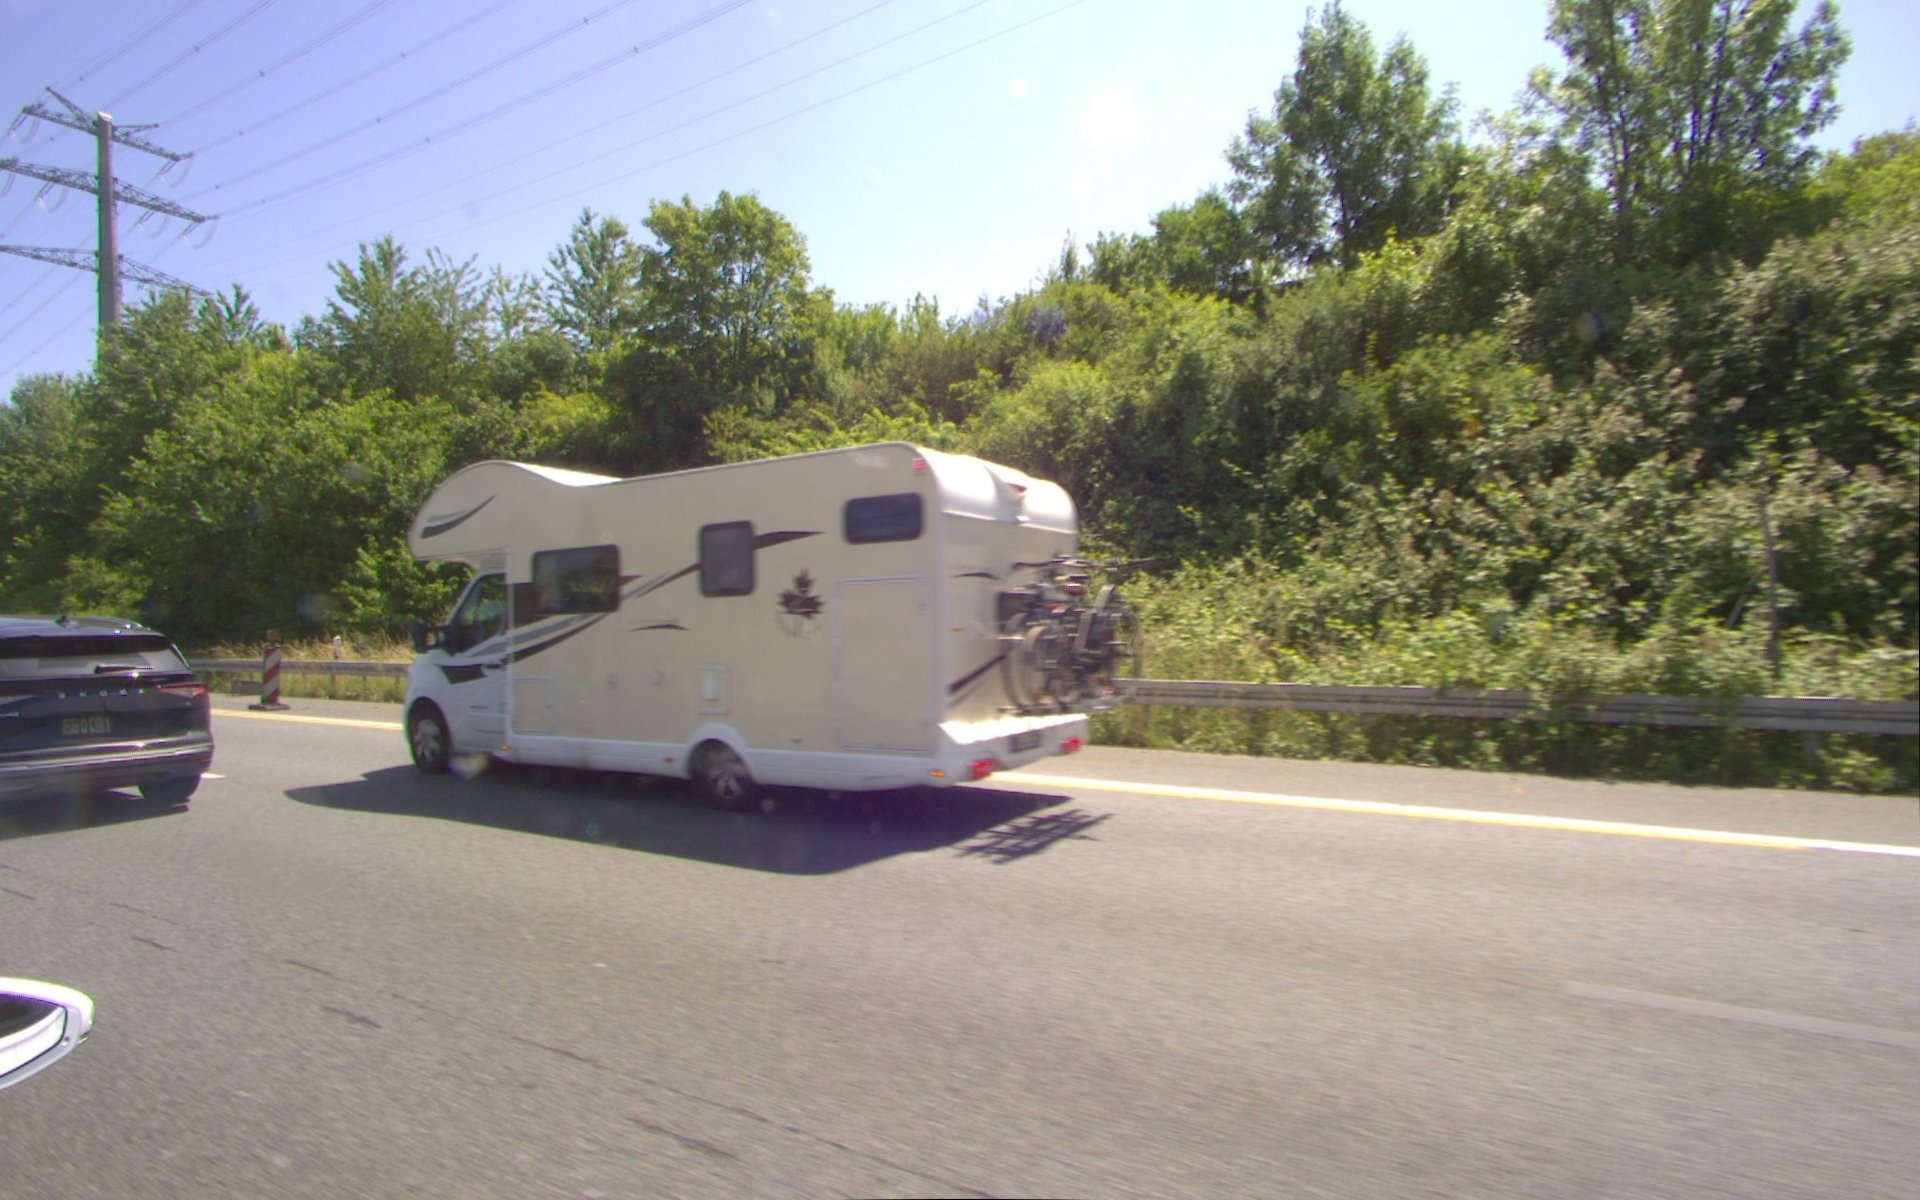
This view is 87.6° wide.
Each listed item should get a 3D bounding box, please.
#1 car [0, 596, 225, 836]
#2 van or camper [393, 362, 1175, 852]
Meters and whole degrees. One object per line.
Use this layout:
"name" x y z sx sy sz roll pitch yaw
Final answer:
"car" -8.342 0.877 8.592 4.364 1.676 1.699 -1 -2 31
"van or camper" -2.019 0.158 9.310 7.523 3.082 2.365 -1 -2 32
